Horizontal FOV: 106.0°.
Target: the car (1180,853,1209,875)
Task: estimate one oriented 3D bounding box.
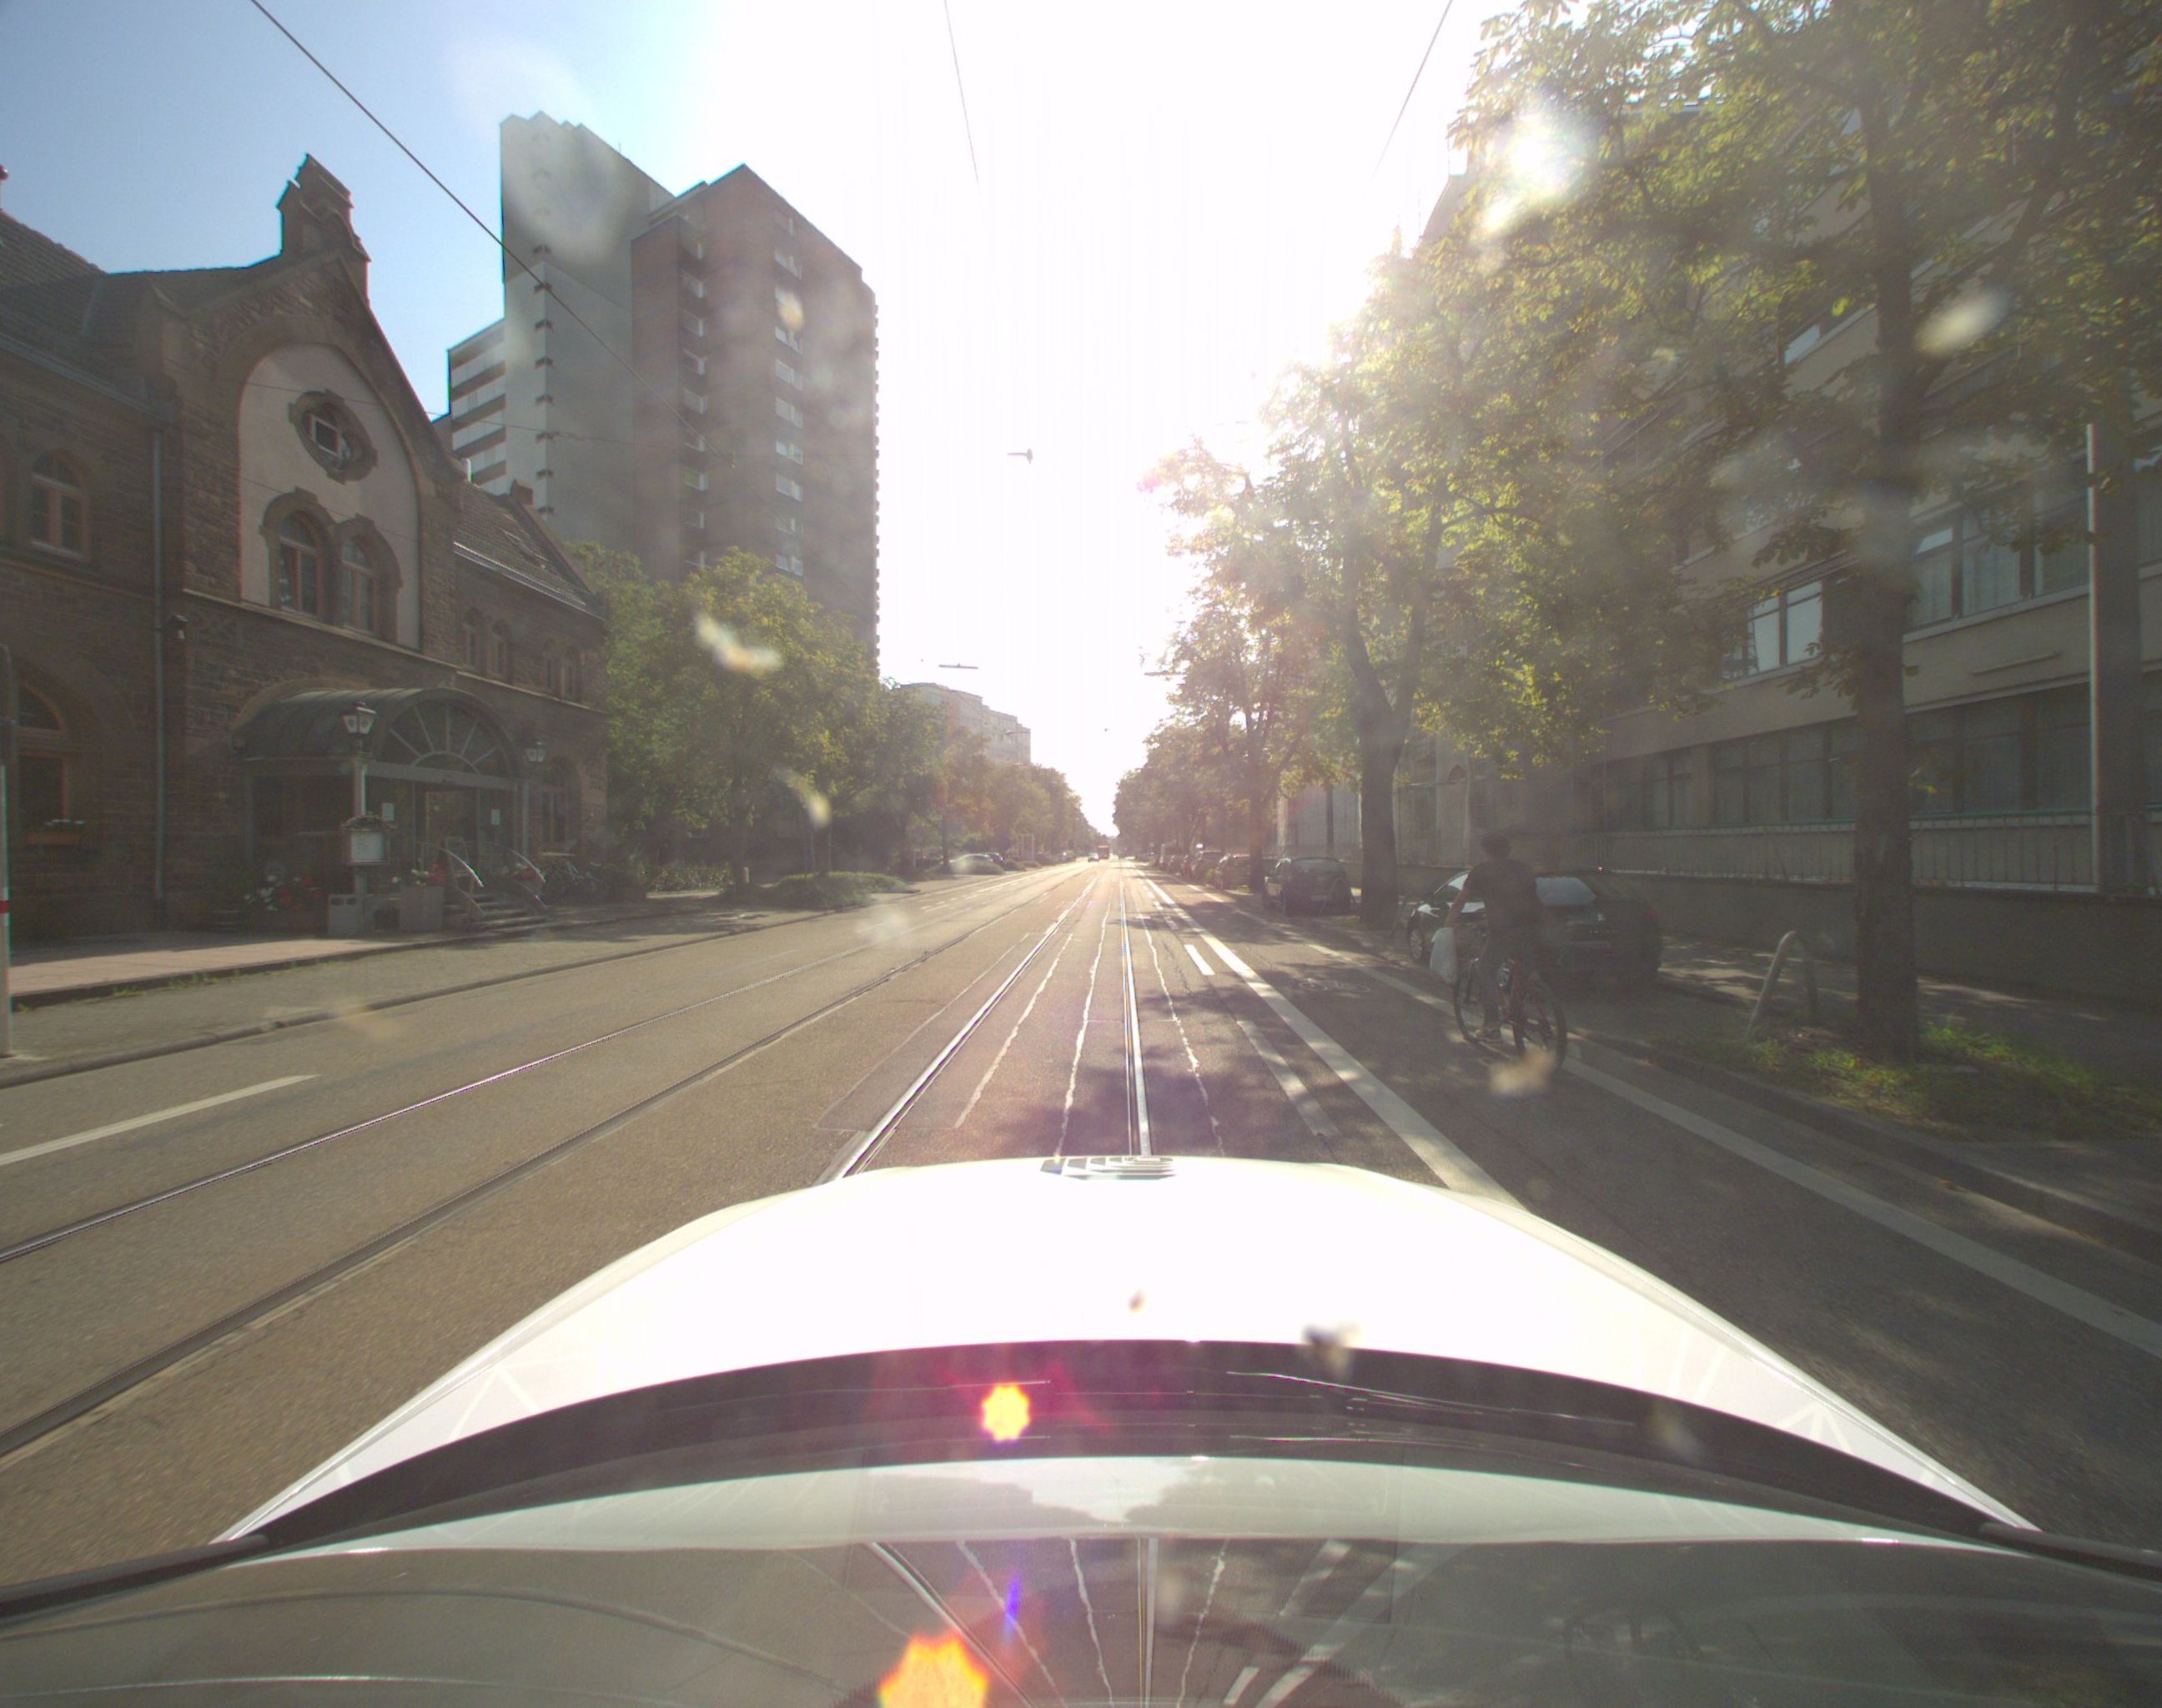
[{"bbox_3d":[7.756,0.639,55.806,1.610,1.413,4.003,-1,0,3],"label":"car"}]

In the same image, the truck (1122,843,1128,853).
[{"bbox_3d":[13.978,-2.033,259.675,1.854,3.131,4.353,0,0,1],"label":"truck"}]

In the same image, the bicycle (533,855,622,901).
[{"bbox_3d":[-12.915,0.627,20.927,1.808,1.074,0.418,4,-2,-20],"label":"bicycle"}]

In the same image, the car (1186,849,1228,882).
[{"bbox_3d":[6.916,0.586,45.099,1.747,1.691,4.397,0,0,1],"label":"car"}]

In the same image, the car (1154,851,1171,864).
[{"bbox_3d":[9.516,0.394,95.430,1.746,1.377,4.722,-2,0,3],"label":"car"}]

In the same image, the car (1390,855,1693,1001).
[{"bbox_3d":[5.522,0.772,10.447,1.640,1.428,4.087,-2,0,2],"label":"car"}]

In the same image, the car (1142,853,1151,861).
[{"bbox_3d":[11.415,0.563,142.530,1.588,1.418,3.638,0,0,4],"label":"car"}]

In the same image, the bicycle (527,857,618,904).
[{"bbox_3d":[-12.768,0.668,20.488,1.808,1.074,0.418,4,-2,-20],"label":"bicycle"}]

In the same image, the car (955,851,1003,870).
[{"bbox_3d":[-8.471,0.513,67.664,3.649,1.515,1.609,1,0,-23],"label":"car"}]

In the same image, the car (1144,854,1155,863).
[{"bbox_3d":[10.837,0.641,128.933,1.682,1.418,3.638,0,0,3],"label":"car"}]

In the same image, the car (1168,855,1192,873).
[{"bbox_3d":[7.980,0.753,66.085,1.609,1.374,4.831,-1,0,3],"label":"car"}]

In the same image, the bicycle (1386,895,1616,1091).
[{"bbox_3d":[3.150,0.960,6.437,0.783,1.144,2.308,0,0,5],"label":"bicycle"}]

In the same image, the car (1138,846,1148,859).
[{"bbox_3d":[12.949,-0.283,170.727,1.996,2.490,4.480,-1,-1,3],"label":"car"}]

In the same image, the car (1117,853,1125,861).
[{"bbox_3d":[10.057,0.791,205.394,1.985,1.838,4.004,0,0,4],"label":"car"}]

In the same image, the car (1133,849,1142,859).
[{"bbox_3d":[13.749,-0.064,197.574,1.996,2.475,4.481,-1,0,4],"label":"car"}]

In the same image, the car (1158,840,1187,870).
[{"bbox_3d":[8.545,0.097,76.246,2.075,2.552,5.503,-4,0,1],"label":"car"}]

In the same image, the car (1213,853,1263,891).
[{"bbox_3d":[6.674,0.739,34.989,1.569,1.484,3.742,-2,0,3],"label":"car"}]

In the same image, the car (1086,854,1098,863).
[{"bbox_3d":[1.842,0.697,134.936,1.821,1.376,4.515,0,0,2],"label":"car"}]

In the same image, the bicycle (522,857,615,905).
[{"bbox_3d":[-12.595,0.666,20.053,1.808,1.074,0.418,4,-2,-20],"label":"bicycle"}]

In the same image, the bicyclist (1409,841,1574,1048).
[{"bbox_3d":[3.146,0.644,6.363,0.783,1.470,1.117,0,0,4],"label":"bicyclist"}]

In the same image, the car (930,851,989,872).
[{"bbox_3d":[-9.042,0.548,60.802,4.009,1.479,1.773,0,0,-27],"label":"car"}]

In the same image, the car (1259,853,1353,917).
[{"bbox_3d":[6.008,0.767,22.124,1.639,1.511,3.781,-2,0,3],"label":"car"}]

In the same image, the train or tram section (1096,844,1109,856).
[{"bbox_3d":[5.099,-0.890,193.530,2.718,2.894,15.465,-1,0,3],"label":"train or tram section"}]
